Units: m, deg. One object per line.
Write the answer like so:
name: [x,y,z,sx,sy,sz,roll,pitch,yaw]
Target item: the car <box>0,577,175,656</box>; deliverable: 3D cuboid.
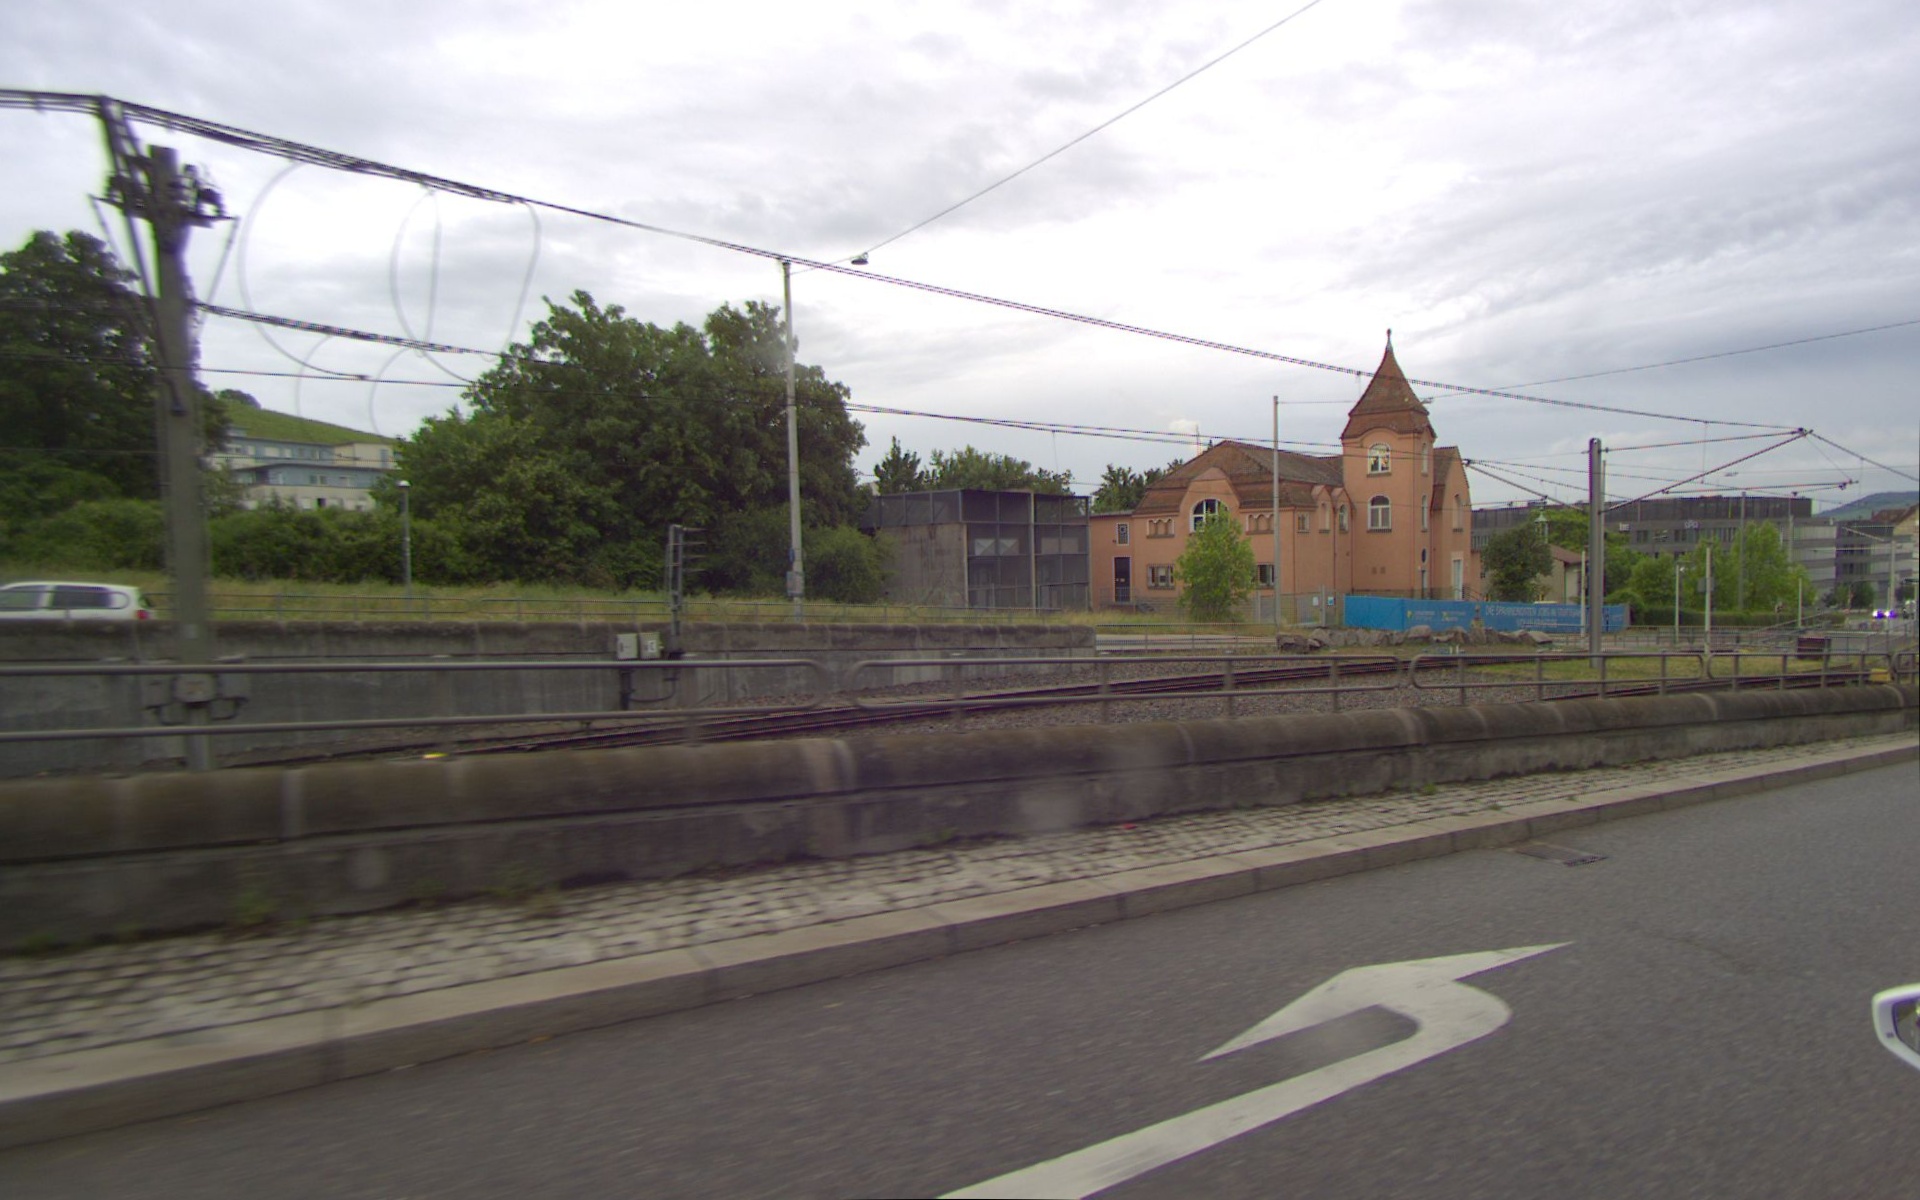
car: [-16.237,0.278,17.779,3.518,1.309,1.547,1,1,-32]
